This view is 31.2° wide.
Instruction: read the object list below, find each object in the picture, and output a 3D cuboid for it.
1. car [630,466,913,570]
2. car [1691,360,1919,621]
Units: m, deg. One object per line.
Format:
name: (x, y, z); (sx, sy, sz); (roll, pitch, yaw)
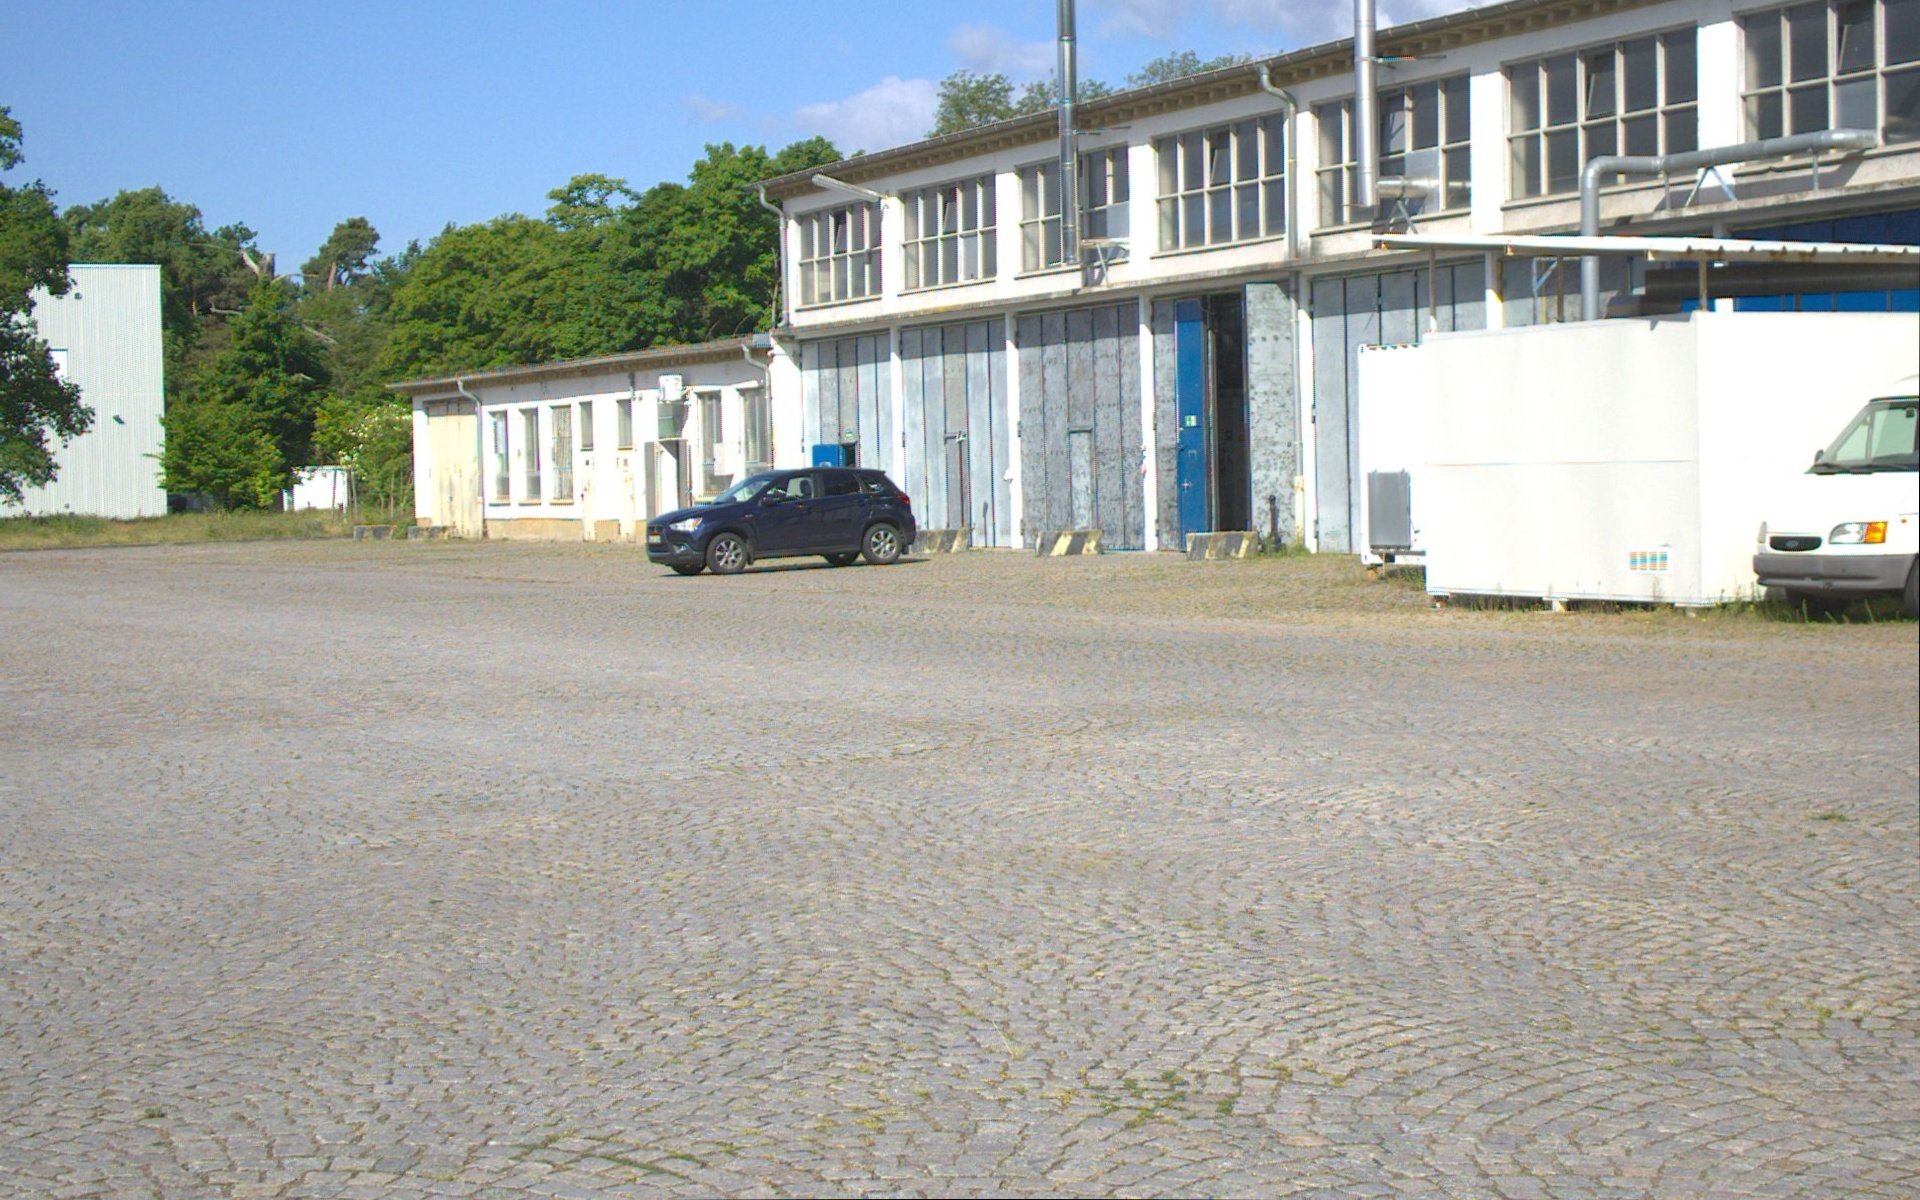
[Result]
car: (-2.977, -1.308, 54.347); (4.063, 1.464, 1.741); (-3, 2, -26)
car: (8.888, -1.014, 29.419); (4.788, 2.074, 2.010); (-3, 2, -22)
